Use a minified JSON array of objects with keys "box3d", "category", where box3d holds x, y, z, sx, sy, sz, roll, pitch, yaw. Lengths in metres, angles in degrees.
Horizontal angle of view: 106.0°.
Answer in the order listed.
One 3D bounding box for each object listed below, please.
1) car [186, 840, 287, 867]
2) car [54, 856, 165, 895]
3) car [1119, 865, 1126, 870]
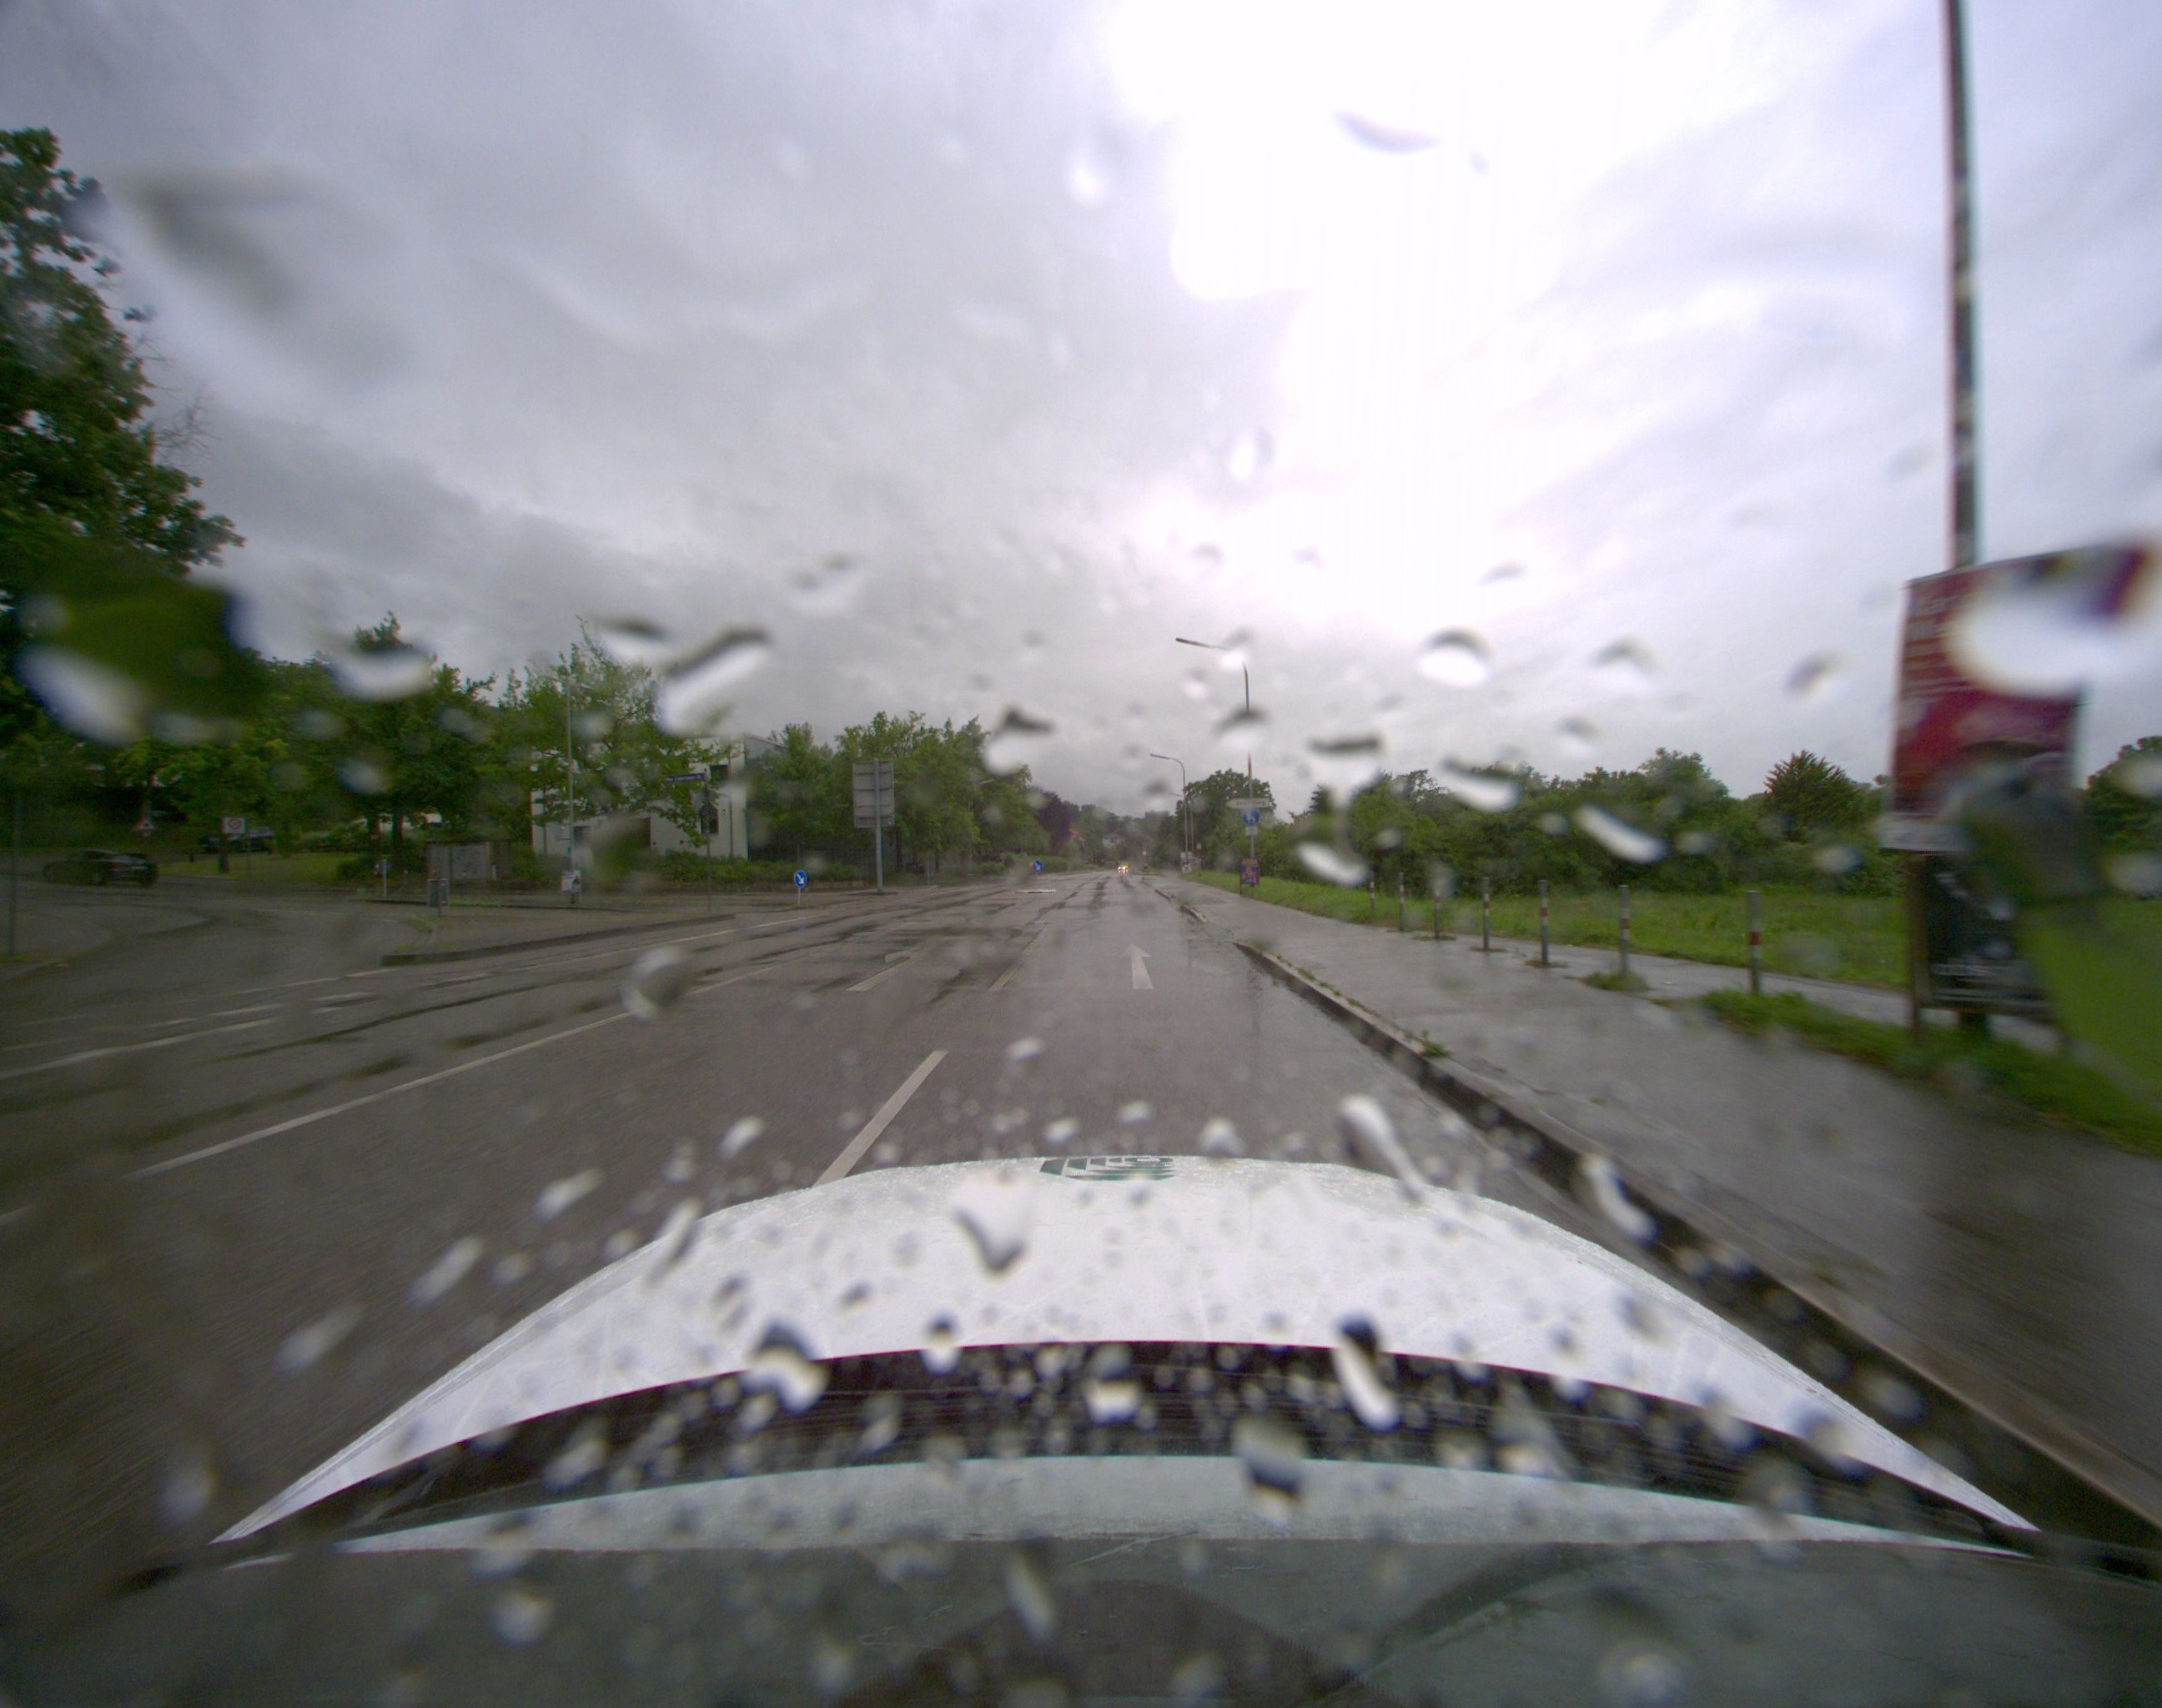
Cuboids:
[{"box3d":[-58.418,-0.030,56.426,1.976,1.762,4.420,2,0,23],"category":"car"},{"box3d":[-45.632,0.985,38.268,3.958,1.762,1.807,-1,0,14],"category":"car"},{"box3d":[10.703,3.566,211.021,1.694,1.349,3.909,-1,-1,4],"category":"car"}]
